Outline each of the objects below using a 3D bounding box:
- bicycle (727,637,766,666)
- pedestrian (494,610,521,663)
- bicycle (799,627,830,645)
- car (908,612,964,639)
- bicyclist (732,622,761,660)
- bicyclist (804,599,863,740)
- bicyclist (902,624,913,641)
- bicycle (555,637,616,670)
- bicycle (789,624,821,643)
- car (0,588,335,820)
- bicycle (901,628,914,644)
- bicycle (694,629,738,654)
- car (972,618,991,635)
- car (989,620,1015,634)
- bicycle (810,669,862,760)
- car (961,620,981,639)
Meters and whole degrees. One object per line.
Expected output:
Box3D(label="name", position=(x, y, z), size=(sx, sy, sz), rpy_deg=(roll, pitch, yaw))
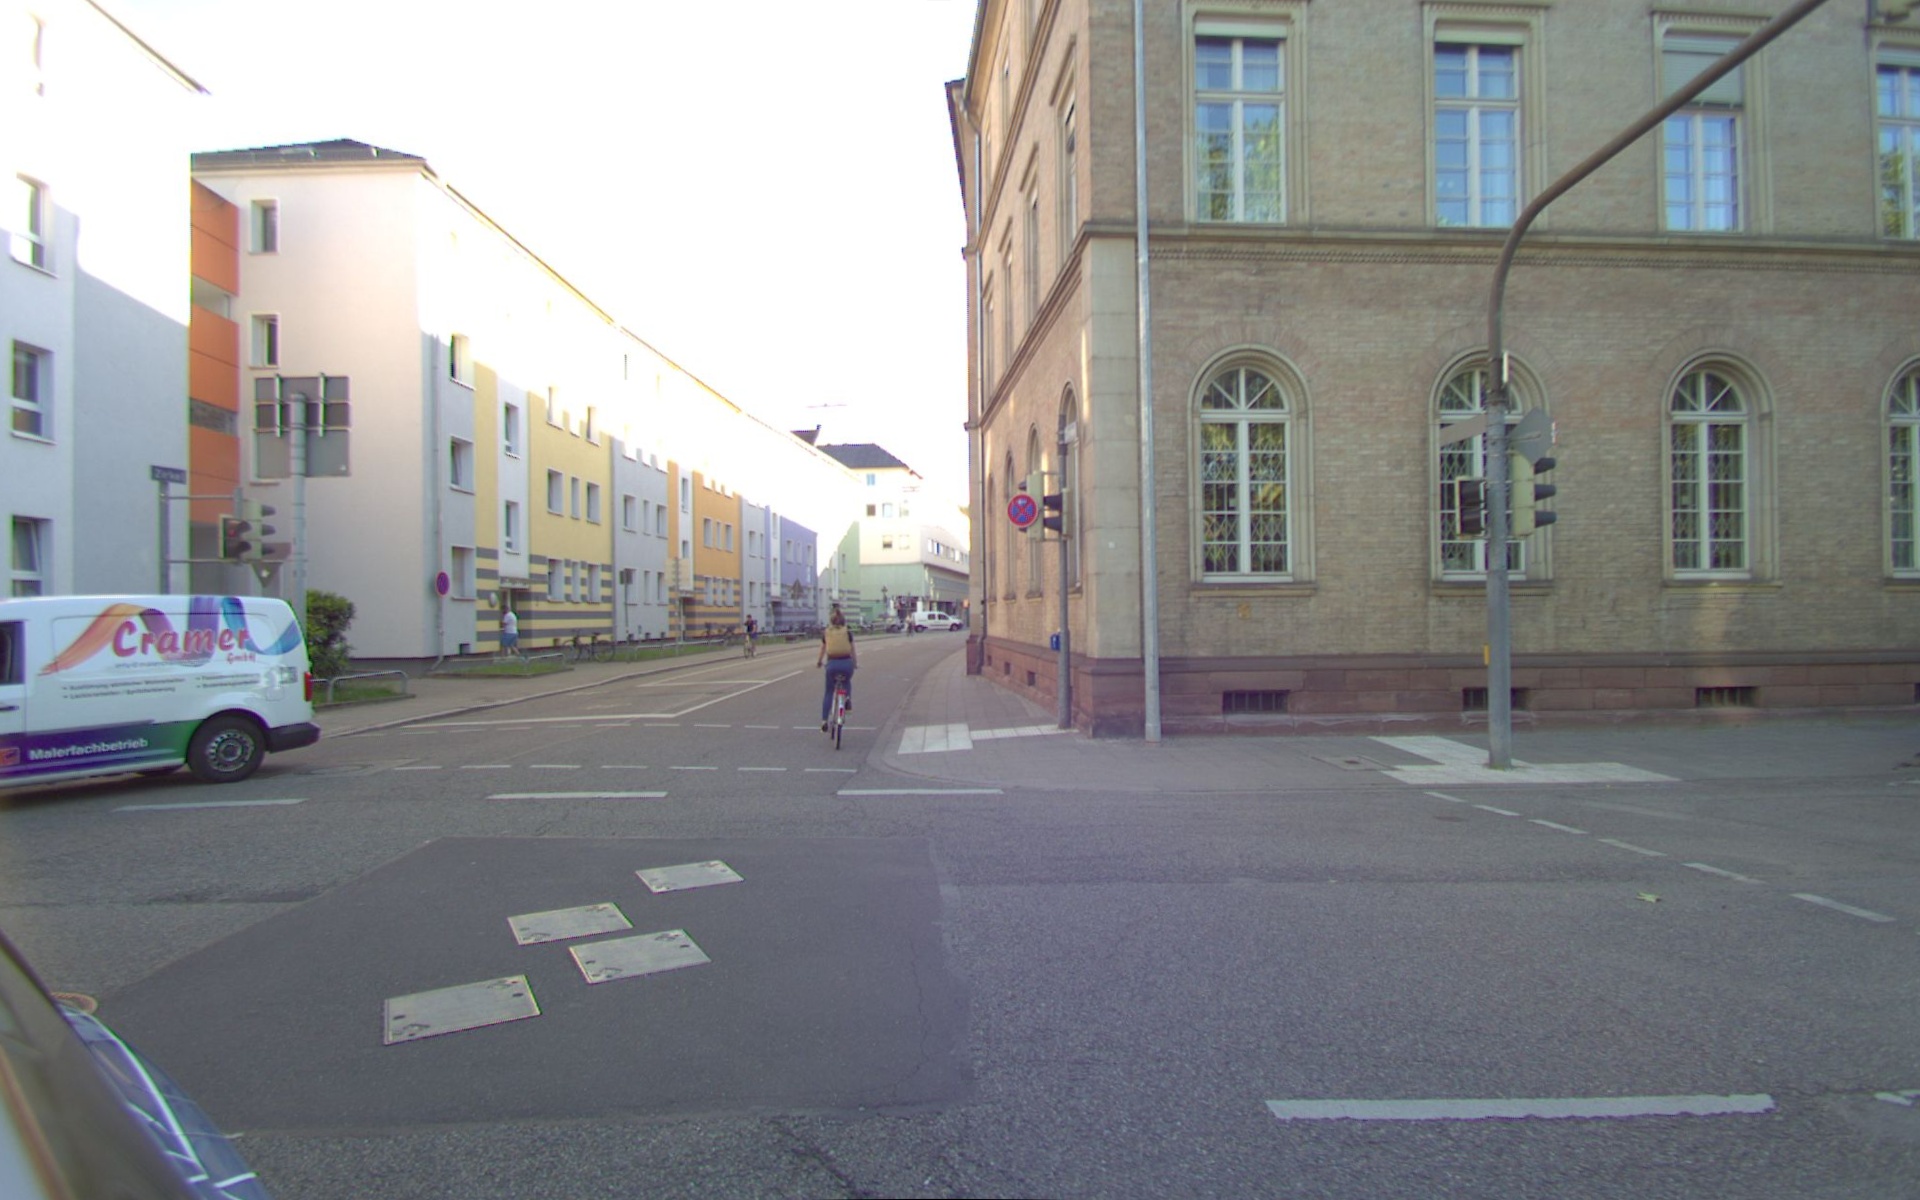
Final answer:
Box3D(label="bicycle", position=(-7.932, 1.927, 37.690), size=(0.781, 1.007, 1.987), rpy_deg=(-3, -3, 8))
Box3D(label="pedestrian", position=(-12.795, 1.013, 28.588), size=(0.552, 1.472, 0.600), rpy_deg=(0, -2, -41))
Box3D(label="bicycle", position=(-8.992, 2.202, 62.475), size=(1.844, 1.077, 0.712), rpy_deg=(-1, 0, -12))
Box3D(label="car", position=(-2.125, 2.226, 88.937), size=(4.635, 2.029, 2.002), rpy_deg=(-3, -1, -5))
Box3D(label="bicyclist", position=(-7.945, 1.539, 37.748), size=(0.783, 1.383, 0.836), rpy_deg=(-3, -3, 9))
Box3D(label="bicyclist", position=(-1.566, 0.825, 12.460), size=(0.635, 1.659, 0.857), rpy_deg=(-1, -1, -11))
Box3D(label="bicyclist", position=(-3.820, 2.365, 73.777), size=(0.669, 1.269, 0.820), rpy_deg=(-1, -1, 5))
Box3D(label="bicycle", position=(-11.818, 1.690, 31.926), size=(1.731, 1.000, 0.541), rpy_deg=(0, -1, -8))
Box3D(label="bicycle", position=(-9.293, 2.008, 60.669), size=(1.847, 1.077, 0.711), rpy_deg=(-1, 0, -4))
Box3D(label="car", position=(-8.431, 0.831, 8.554), size=(1.991, 1.830, 5.076), rpy_deg=(-1, -1, 28))
Box3D(label="bicycle", position=(-3.820, 2.631, 73.807), size=(0.669, 1.119, 1.793), rpy_deg=(-1, -1, 5))
Box3D(label="bicycle", position=(-11.136, 1.877, 46.186), size=(1.847, 1.077, 0.711), rpy_deg=(-1, 0, -4))
Box3D(label="car", position=(2.728, 3.355, 127.398), size=(1.975, 2.029, 3.992), rpy_deg=(-1, -1, 6))
Box3D(label="car", position=(4.269, 2.671, 101.120), size=(2.083, 1.350, 4.693), rpy_deg=(-1, -1, 9))
Box3D(label="bicycle", position=(-1.543, 1.365, 12.407), size=(0.487, 0.931, 1.826), rpy_deg=(-1, -1, -11))
Box3D(label="car", position=(1.282, 3.357, 115.389), size=(1.975, 2.029, 3.992), rpy_deg=(-1, -1, 6))
